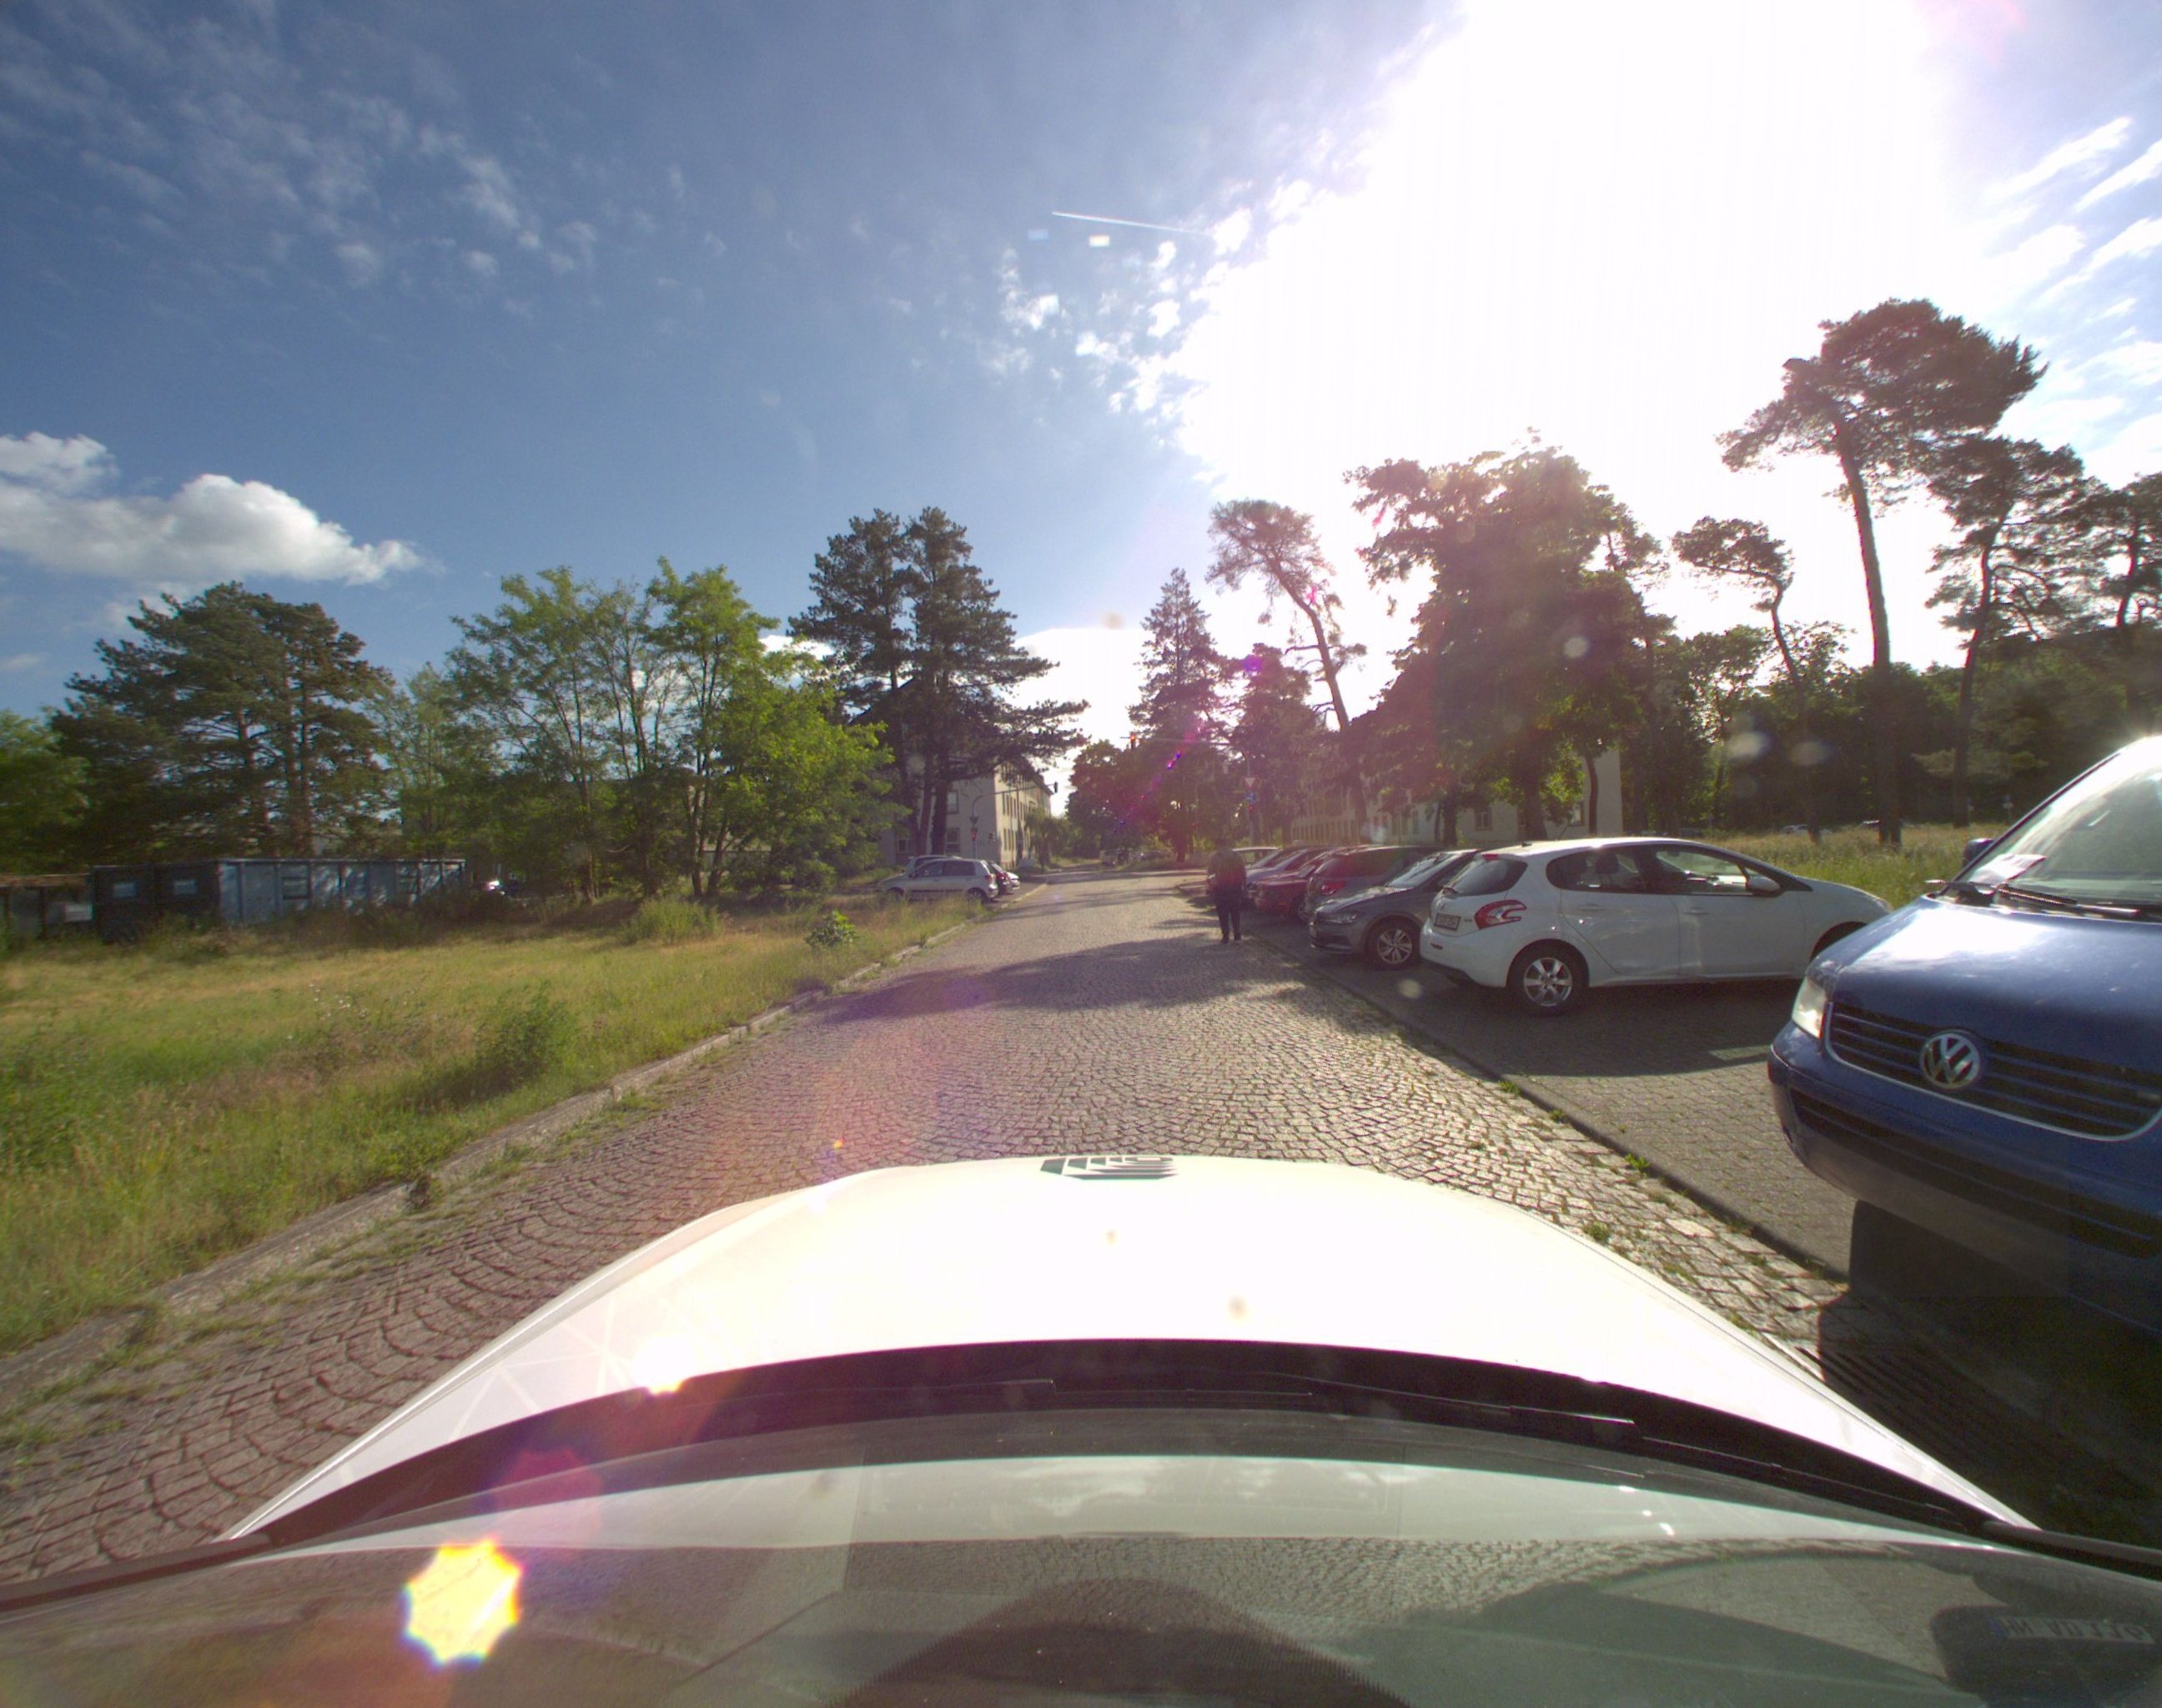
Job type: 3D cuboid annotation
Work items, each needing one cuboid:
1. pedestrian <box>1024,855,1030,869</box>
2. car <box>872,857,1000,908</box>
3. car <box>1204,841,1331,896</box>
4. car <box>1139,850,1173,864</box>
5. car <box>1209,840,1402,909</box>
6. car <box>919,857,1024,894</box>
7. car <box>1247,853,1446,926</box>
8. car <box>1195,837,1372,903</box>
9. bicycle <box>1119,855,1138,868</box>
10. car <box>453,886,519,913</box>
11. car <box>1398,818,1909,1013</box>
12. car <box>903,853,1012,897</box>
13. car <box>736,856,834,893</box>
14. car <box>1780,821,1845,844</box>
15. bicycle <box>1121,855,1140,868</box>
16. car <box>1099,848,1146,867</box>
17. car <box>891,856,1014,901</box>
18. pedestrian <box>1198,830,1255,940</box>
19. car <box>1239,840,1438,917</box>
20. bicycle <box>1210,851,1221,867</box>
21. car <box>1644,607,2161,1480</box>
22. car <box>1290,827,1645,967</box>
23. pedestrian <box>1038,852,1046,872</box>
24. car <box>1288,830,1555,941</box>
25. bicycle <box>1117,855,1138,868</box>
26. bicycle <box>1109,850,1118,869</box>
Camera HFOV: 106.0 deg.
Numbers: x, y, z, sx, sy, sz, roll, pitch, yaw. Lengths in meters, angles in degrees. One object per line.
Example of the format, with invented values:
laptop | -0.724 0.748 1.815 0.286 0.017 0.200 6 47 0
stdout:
pedestrian | -5.987 0.873 89.484 0.606 1.559 0.544 -2 0 -5
car | -4.478 0.861 25.546 3.674 1.527 1.699 0 0 -1
car | 5.899 0.450 26.104 3.659 1.443 1.666 -4 0 2
car | 8.879 0.349 96.854 3.738 1.580 1.738 -2 0 -6
car | 5.619 0.502 20.789 4.384 1.388 1.789 -4 0 0
car | -4.487 0.866 33.610 3.966 1.496 1.776 0 0 6
car | 5.157 0.676 16.127 3.447 1.242 1.537 -2 0 2
car | 5.791 0.447 23.653 4.605 1.455 1.869 -5 0 -1
bicycle | 4.392 0.721 75.679 1.722 1.112 0.484 -3 0 -2
car | -45.797 3.506 62.810 1.856 1.778 4.008 -3 0 5
car | 5.154 0.526 7.722 3.630 1.492 1.635 -3 0 2
car | -4.629 0.789 30.893 3.866 1.615 1.661 0 0 0
car | -14.895 1.010 41.153 4.127 1.608 2.011 -3 0 3
car | 60.080 -1.753 66.968 3.619 1.671 1.769 -2 0 4
bicycle | 4.652 0.676 76.354 1.722 1.164 0.561 -3 0 -2
car | 4.679 0.381 93.037 5.063 1.918 1.995 -2 0 -8
car | -4.391 0.840 28.211 3.924 1.445 1.691 1 0 0
pedestrian | 2.384 0.500 13.429 0.750 1.725 0.829 2 0 2
car | 5.743 0.530 18.503 3.965 1.448 1.656 -3 0 1
bicycle | 10.423 0.374 63.058 0.717 1.115 2.592 -3 0 12
car | 4.845 0.279 2.483 4.735 2.013 2.001 -4 0 2
car | 4.850 0.523 10.665 3.765 1.450 1.759 -4 0 3
pedestrian | -3.358 0.713 70.763 0.604 1.752 0.630 -2 0 1
car | 5.493 0.493 13.484 3.649 1.455 1.667 -4 0 2
bicycle | 4.303 0.723 75.137 1.829 1.112 0.495 -3 0 -2
bicycle | 2.842 0.471 71.812 0.750 1.580 2.538 -2 0 2
